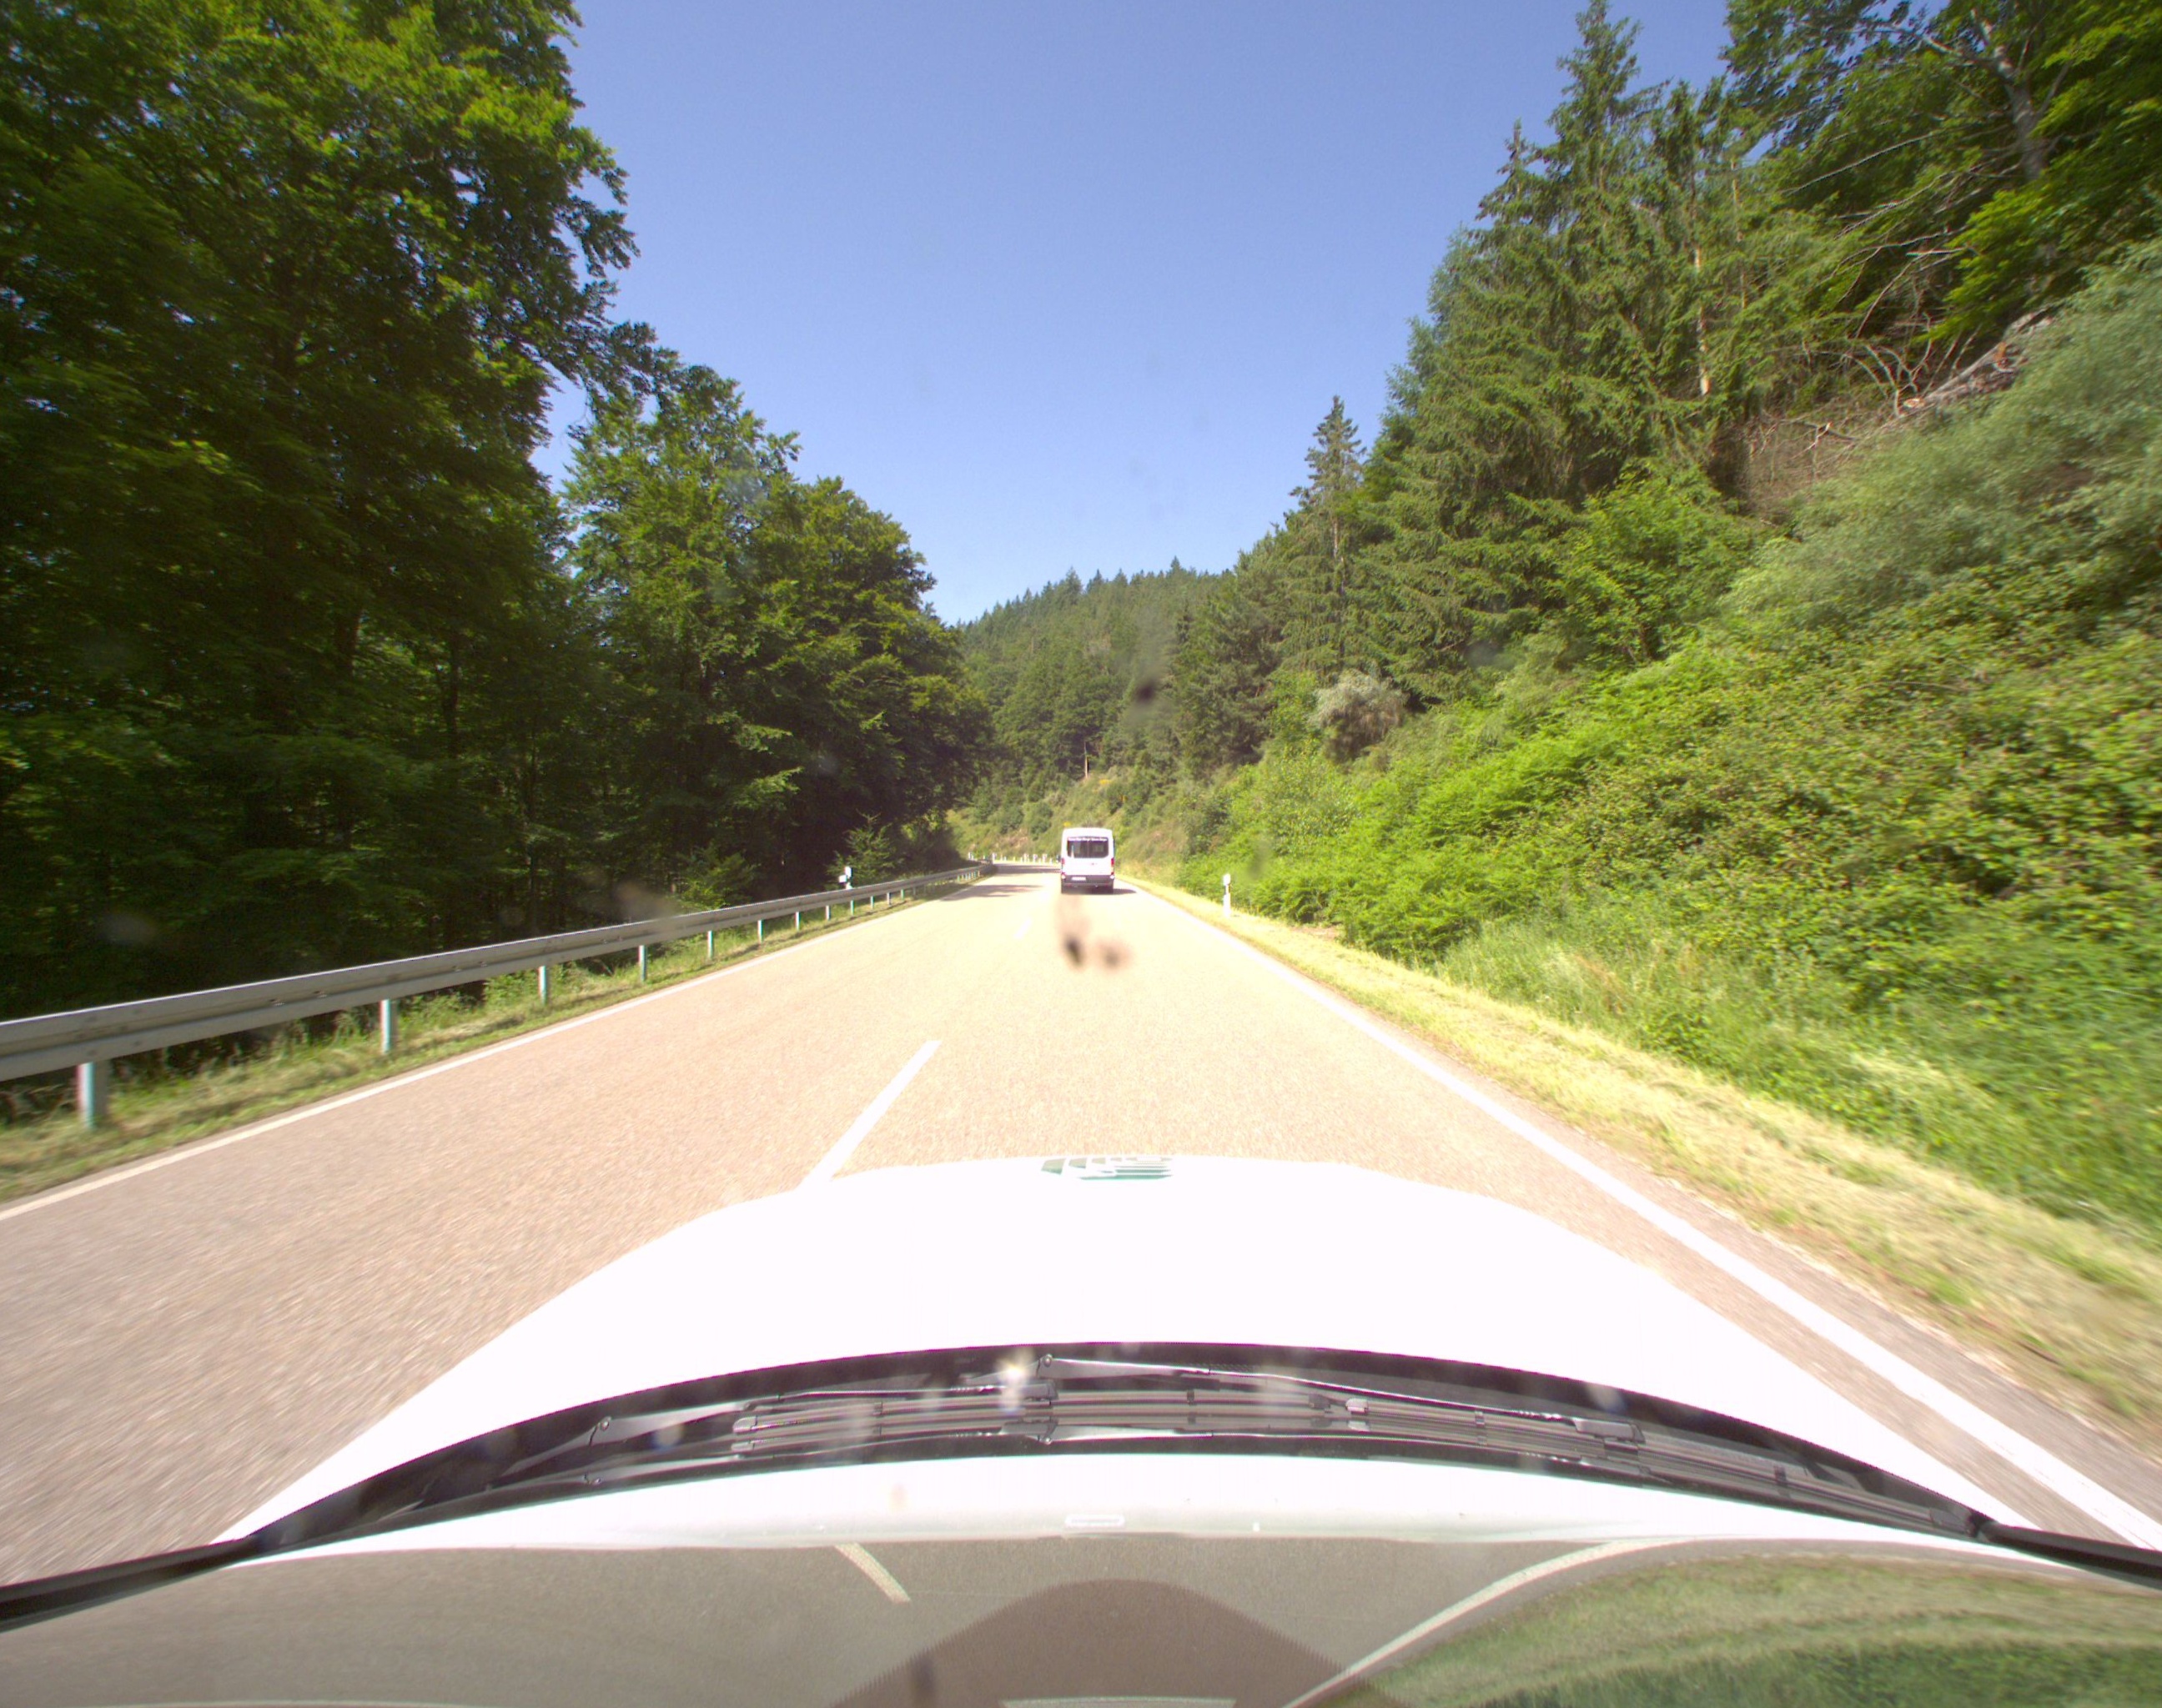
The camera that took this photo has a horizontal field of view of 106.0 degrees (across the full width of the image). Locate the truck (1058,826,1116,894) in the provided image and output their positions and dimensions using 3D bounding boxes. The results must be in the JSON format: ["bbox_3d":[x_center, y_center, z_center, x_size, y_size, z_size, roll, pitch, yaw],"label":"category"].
[{"bbox_3d":[0.156,0.234,32.155,2.078,2.459,4.870,0,0,-2],"label":"truck"}]
